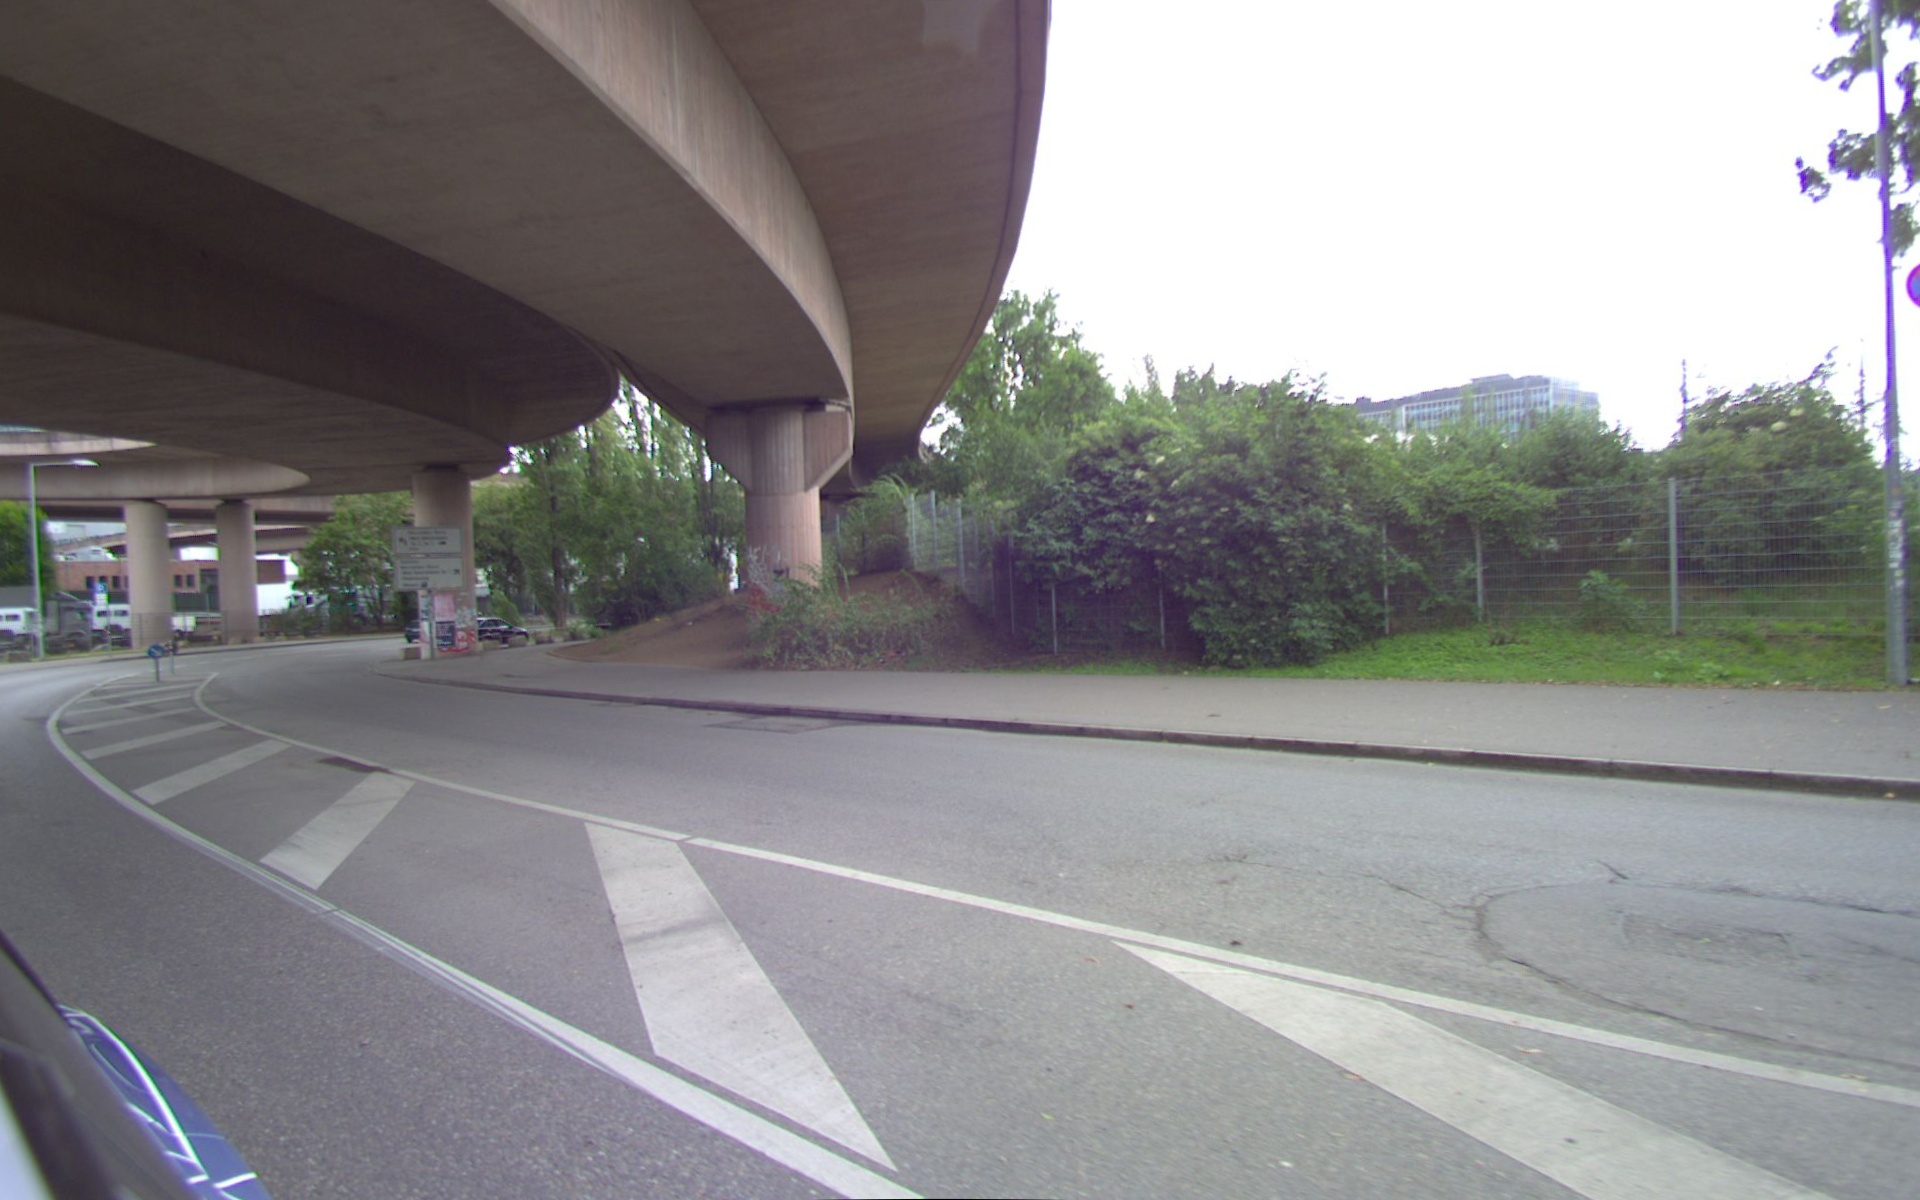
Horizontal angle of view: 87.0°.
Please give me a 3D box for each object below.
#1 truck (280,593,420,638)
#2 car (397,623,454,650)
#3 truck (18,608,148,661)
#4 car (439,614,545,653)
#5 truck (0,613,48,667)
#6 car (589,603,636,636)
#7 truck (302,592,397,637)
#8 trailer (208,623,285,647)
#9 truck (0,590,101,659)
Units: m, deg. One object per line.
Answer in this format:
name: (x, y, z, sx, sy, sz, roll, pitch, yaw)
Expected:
truck: (-52.064, 1.233, 86.733, 2.267, 3.524, 10.089, -1, 1, 37)
car: (-33.958, 2.296, 64.389, 1.657, 1.441, 4.002, -2, 0, -3)
truck: (-50.997, 1.926, 59.133, 2.385, 2.764, 7.252, -2, 0, -11)
car: (-21.271, 1.504, 46.235, 1.810, 1.441, 4.756, -4, 0, 12)
truck: (-54.055, 2.264, 55.733, 2.421, 2.908, 6.126, -2, 0, -5)
car: (-22.449, 1.220, 65.203, 1.825, 1.931, 4.988, -2, 1, -31)
truck: (-50.328, 1.116, 83.587, 2.269, 3.434, 6.328, -1, 1, 39)
trailer: (-47.899, 2.333, 68.055, 1.588, 1.341, 4.369, -1, 1, 10)
truck: (-63.889, 1.723, 67.022, 3.906, 4.399, 10.013, -3, -1, 36)
